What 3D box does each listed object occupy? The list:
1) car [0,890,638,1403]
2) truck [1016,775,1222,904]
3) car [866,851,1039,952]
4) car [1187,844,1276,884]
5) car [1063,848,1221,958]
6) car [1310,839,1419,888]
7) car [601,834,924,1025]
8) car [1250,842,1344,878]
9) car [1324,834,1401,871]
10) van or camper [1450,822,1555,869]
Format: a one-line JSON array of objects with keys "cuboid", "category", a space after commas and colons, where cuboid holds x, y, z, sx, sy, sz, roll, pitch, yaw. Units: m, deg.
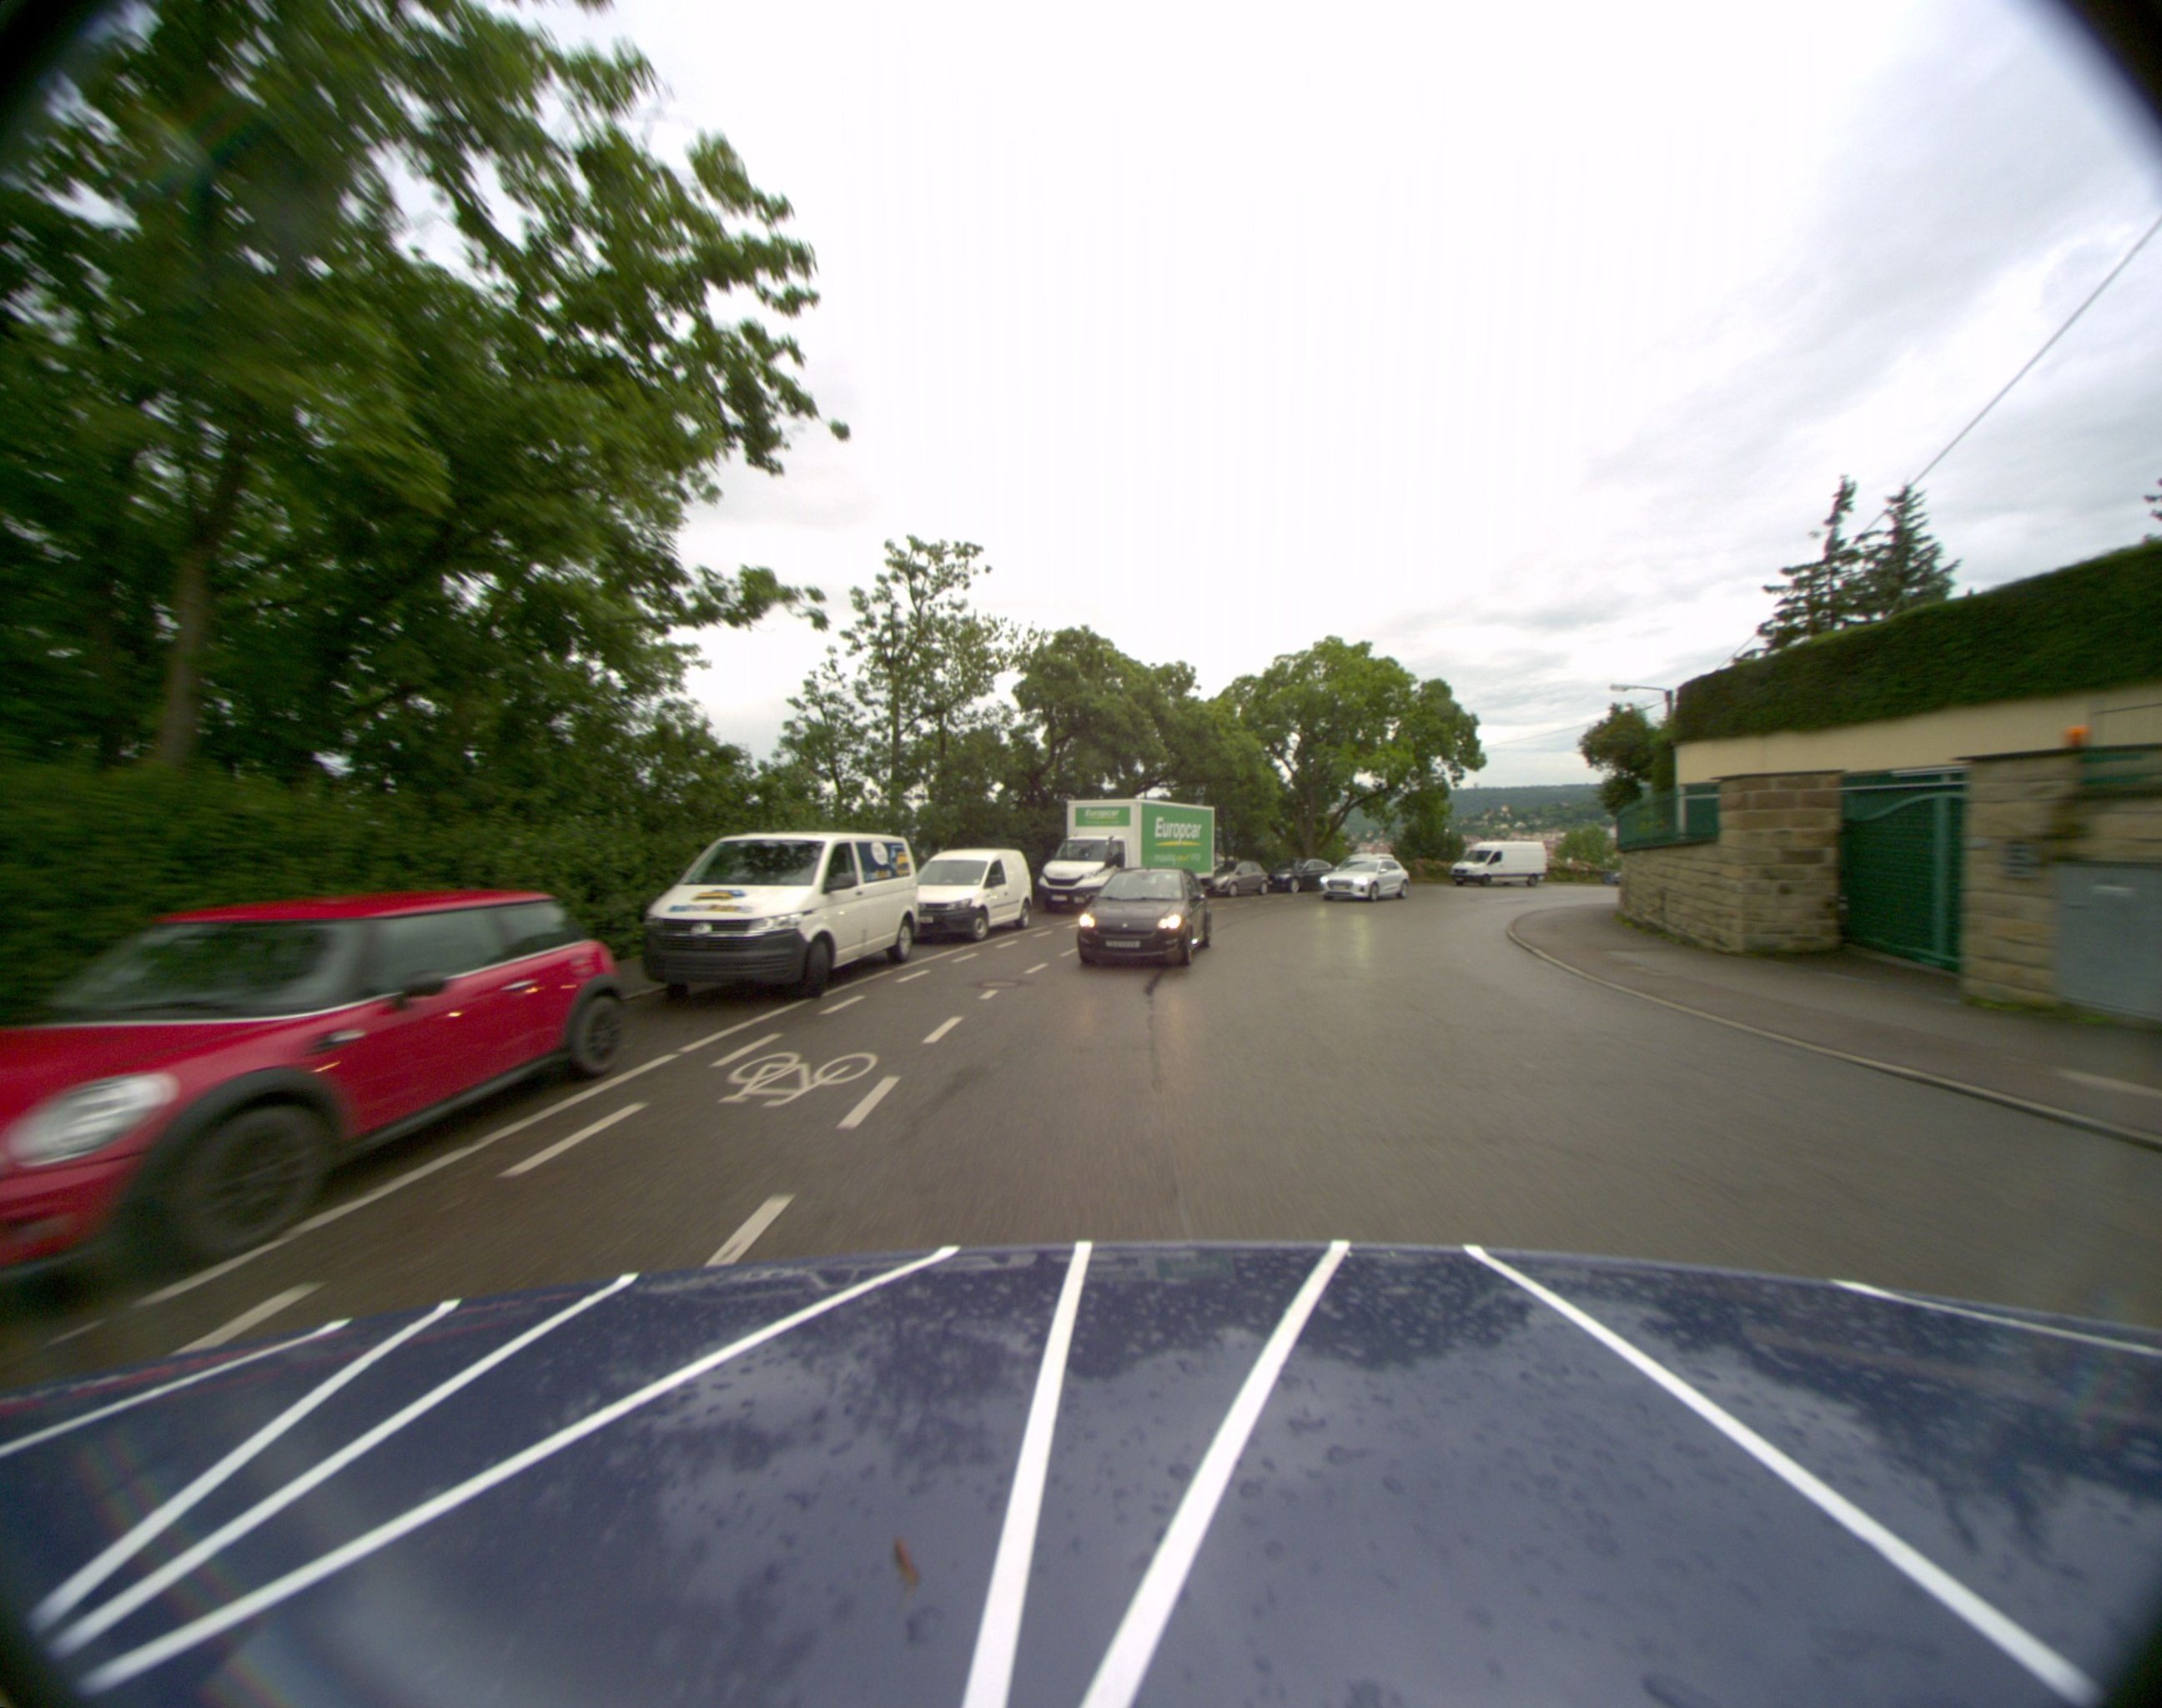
[{"cuboid": [-4.320, 1.034, 4.150, 1.675, 1.406, 3.741, -2, 1, -3], "category": "car"}, {"cuboid": [1.666, -0.493, 24.910, 2.774, 3.451, 8.950, 1, 2, 31], "category": "truck"}, {"cuboid": [-2.482, 0.876, 15.960, 1.862, 1.760, 4.383, -2, 0, 15], "category": "car"}, {"cuboid": [6.331, 0.365, 31.691, 1.734, 1.495, 4.144, 1, 2, 42], "category": "car"}, {"cuboid": [1.206, 0.655, 12.608, 1.781, 1.477, 4.411, 1, 0, 16], "category": "car"}, {"cuboid": [11.286, 0.298, 30.097, 4.892, 1.699, 2.186, -3, 4, -45], "category": "car"}, {"cuboid": [-3.756, 0.747, 10.143, 1.864, 1.937, 4.809, -1, 1, 6], "category": "car"}, {"cuboid": [10.214, 0.236, 35.693, 4.904, 1.534, 1.860, -1, 1, -41], "category": "car"}, {"cuboid": [14.666, -0.117, 39.466, 4.432, 1.811, 1.747, -1, 2, -40], "category": "car"}, {"cuboid": [24.759, -0.540, 44.647, 5.893, 2.566, 2.069, -2, 2, -20], "category": "van or camper"}]
